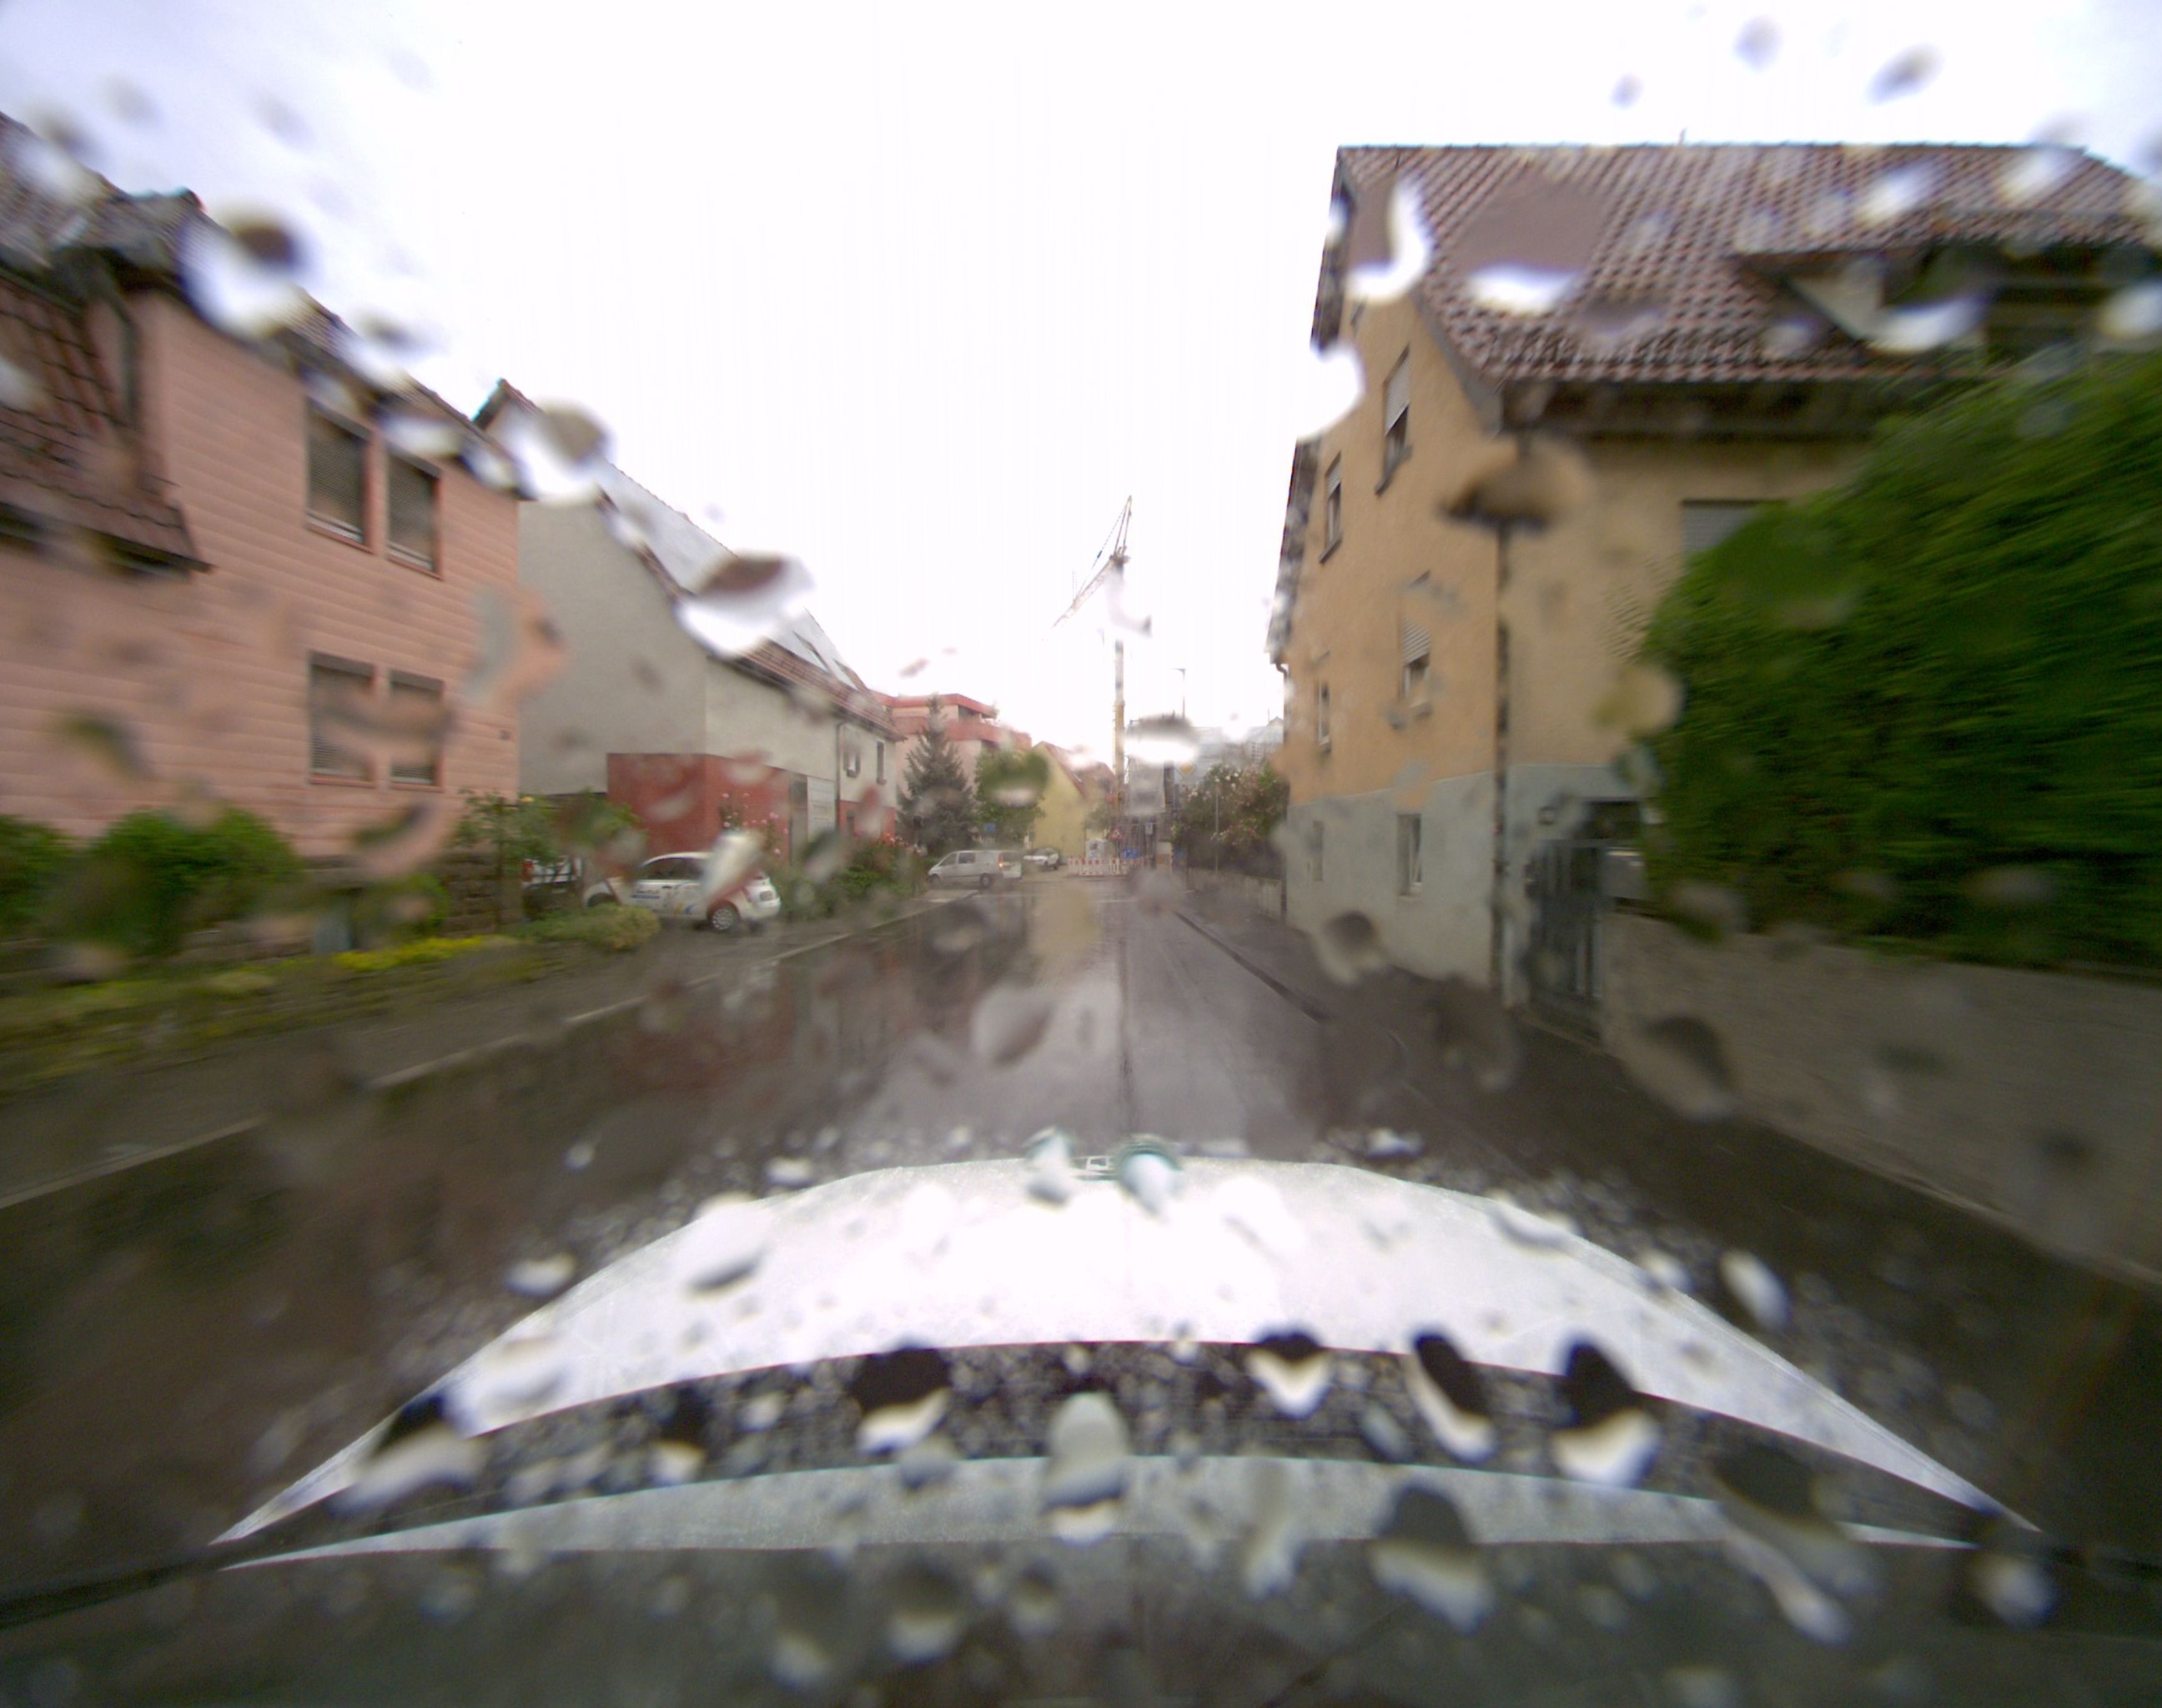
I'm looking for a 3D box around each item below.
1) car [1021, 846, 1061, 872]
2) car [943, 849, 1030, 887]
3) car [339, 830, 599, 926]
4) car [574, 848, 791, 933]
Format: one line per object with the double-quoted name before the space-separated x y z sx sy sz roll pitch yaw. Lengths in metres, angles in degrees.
"car" -2.747 0.315 57.280 1.588 1.677 3.956 1 2 16
"car" -4.858 0.723 41.821 3.948 1.869 2.202 -1 -1 36
"car" -12.557 0.467 16.893 3.974 1.764 1.758 2 0 0
"car" -7.993 0.707 16.544 3.531 1.529 1.664 2 0 2
